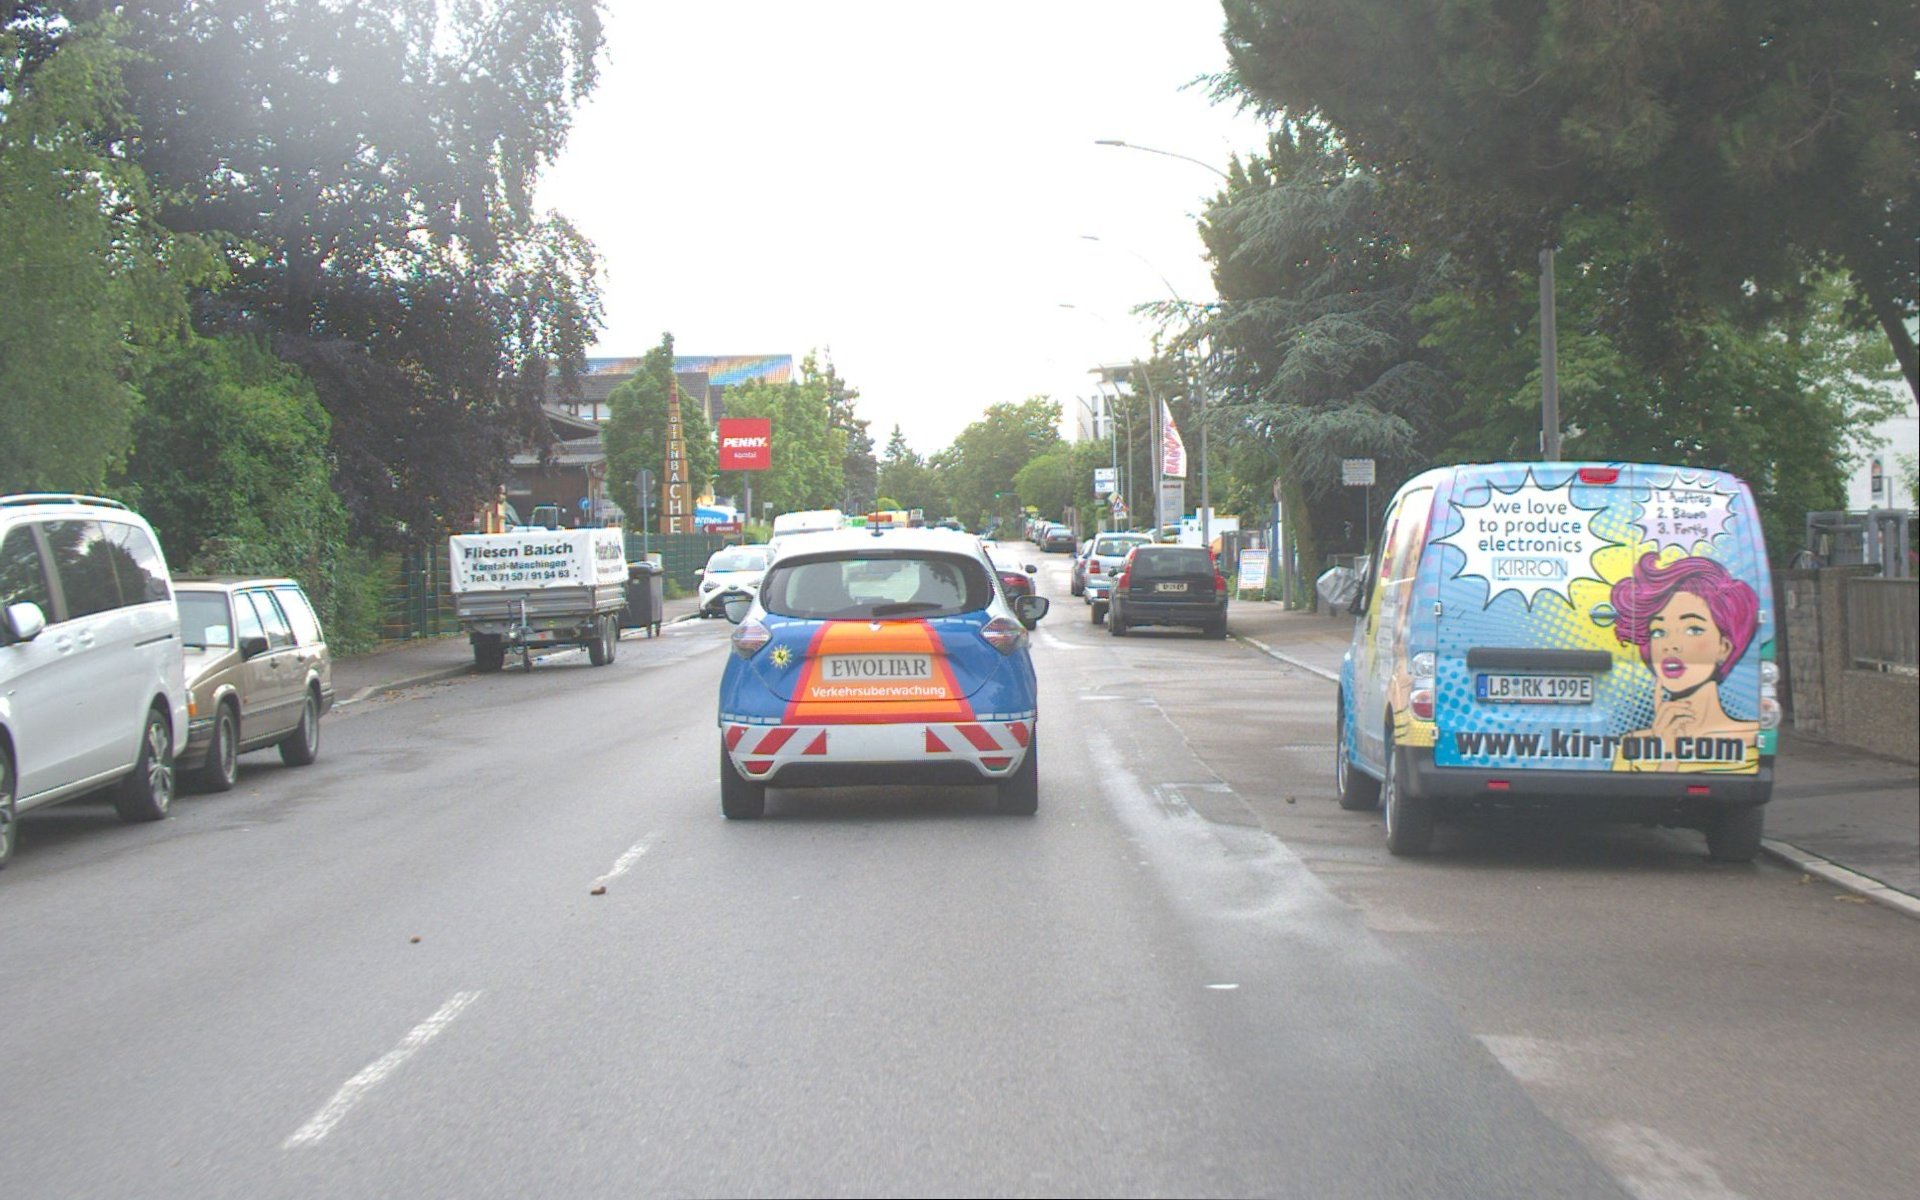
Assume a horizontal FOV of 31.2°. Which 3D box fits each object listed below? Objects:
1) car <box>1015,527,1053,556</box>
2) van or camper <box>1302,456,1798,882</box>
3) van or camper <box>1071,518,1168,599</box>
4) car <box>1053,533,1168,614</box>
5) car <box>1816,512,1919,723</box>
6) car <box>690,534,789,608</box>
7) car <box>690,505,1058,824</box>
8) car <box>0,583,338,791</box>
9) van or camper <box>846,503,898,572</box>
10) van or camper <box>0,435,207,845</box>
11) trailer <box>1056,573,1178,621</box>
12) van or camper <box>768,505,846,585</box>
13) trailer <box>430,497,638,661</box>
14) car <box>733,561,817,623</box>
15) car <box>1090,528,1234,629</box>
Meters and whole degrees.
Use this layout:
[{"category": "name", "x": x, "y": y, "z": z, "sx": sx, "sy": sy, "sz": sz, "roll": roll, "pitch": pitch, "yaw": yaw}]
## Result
[{"category": "car", "x": 4.114, "y": -3.270, "z": 192.203, "sx": 1.993, "sy": 1.580, "sz": 4.000, "roll": -1, "pitch": 1, "yaw": -1}, {"category": "van or camper", "x": 2.829, "y": 0.271, "z": 17.315, "sx": 1.754, "sy": 1.876, "sz": 4.000, "roll": -1, "pitch": 1, "yaw": -1}, {"category": "van or camper", "x": 3.646, "y": -0.973, "z": 79.276, "sx": 1.993, "sy": 1.778, "sz": 4.000, "roll": -1, "pitch": 1, "yaw": -1}, {"category": "car", "x": 2.806, "y": -0.519, "z": 64.654, "sx": 1.857, "sy": 1.449, "sz": 3.523, "roll": -1, "pitch": 1, "yaw": -2}, {"category": "car", "x": 7.694, "y": 0.161, "z": 24.800, "sx": 1.993, "sy": 1.481, "sz": 4.000, "roll": 2, "pitch": -1, "yaw": 0}, {"category": "car", "x": -4.889, "y": -0.675, "z": 76.814, "sx": 1.993, "sy": 1.590, "sz": 4.000, "roll": -1, "pitch": 1, "yaw": -1}, {"category": "car", "x": -0.430, "y": 0.296, "z": 19.793, "sx": 1.888, "sy": 1.626, "sz": 4.000, "roll": -1, "pitch": 1, "yaw": 0}, {"category": "car", "x": -5.807, "y": 0.560, "z": 24.346, "sx": 1.993, "sy": 1.284, "sz": 4.000, "roll": -1, "pitch": 1, "yaw": 1}, {"category": "van or camper", "x": -3.579, "y": -2.574, "z": 140.883, "sx": 1.993, "sy": 2.765, "sz": 5.441, "roll": -1, "pitch": 1, "yaw": -1}, {"category": "van or camper", "x": -5.633, "y": 0.210, "z": 18.703, "sx": 1.890, "sy": 2.007, "sz": 5.097, "roll": 2, "pitch": -1, "yaw": 0}, {"category": "trailer", "x": 2.691, "y": -0.062, "z": 59.324, "sx": 1.938, "sy": 0.751, "sz": 2.859, "roll": -1, "pitch": 1, "yaw": -1}, {"category": "van or camper", "x": -4.572, "y": -1.660, "z": 103.219, "sx": 2.161, "sy": 2.345, "sz": 4.334, "roll": -1, "pitch": 1, "yaw": -1}, {"category": "trailer", "x": -5.505, "y": -0.300, "z": 44.947, "sx": 2.220, "sy": 2.007, "sz": 4.437, "roll": -1, "pitch": 1, "yaw": -1}, {"category": "car", "x": -4.753, "y": -0.225, "z": 88.861, "sx": 1.993, "sy": 1.525, "sz": 4.000, "roll": -1, "pitch": 1, "yaw": -1}, {"category": "car", "x": 3.169, "y": -0.366, "z": 54.581, "sx": 1.993, "sy": 1.531, "sz": 4.000, "roll": -1, "pitch": 1, "yaw": -1}]
